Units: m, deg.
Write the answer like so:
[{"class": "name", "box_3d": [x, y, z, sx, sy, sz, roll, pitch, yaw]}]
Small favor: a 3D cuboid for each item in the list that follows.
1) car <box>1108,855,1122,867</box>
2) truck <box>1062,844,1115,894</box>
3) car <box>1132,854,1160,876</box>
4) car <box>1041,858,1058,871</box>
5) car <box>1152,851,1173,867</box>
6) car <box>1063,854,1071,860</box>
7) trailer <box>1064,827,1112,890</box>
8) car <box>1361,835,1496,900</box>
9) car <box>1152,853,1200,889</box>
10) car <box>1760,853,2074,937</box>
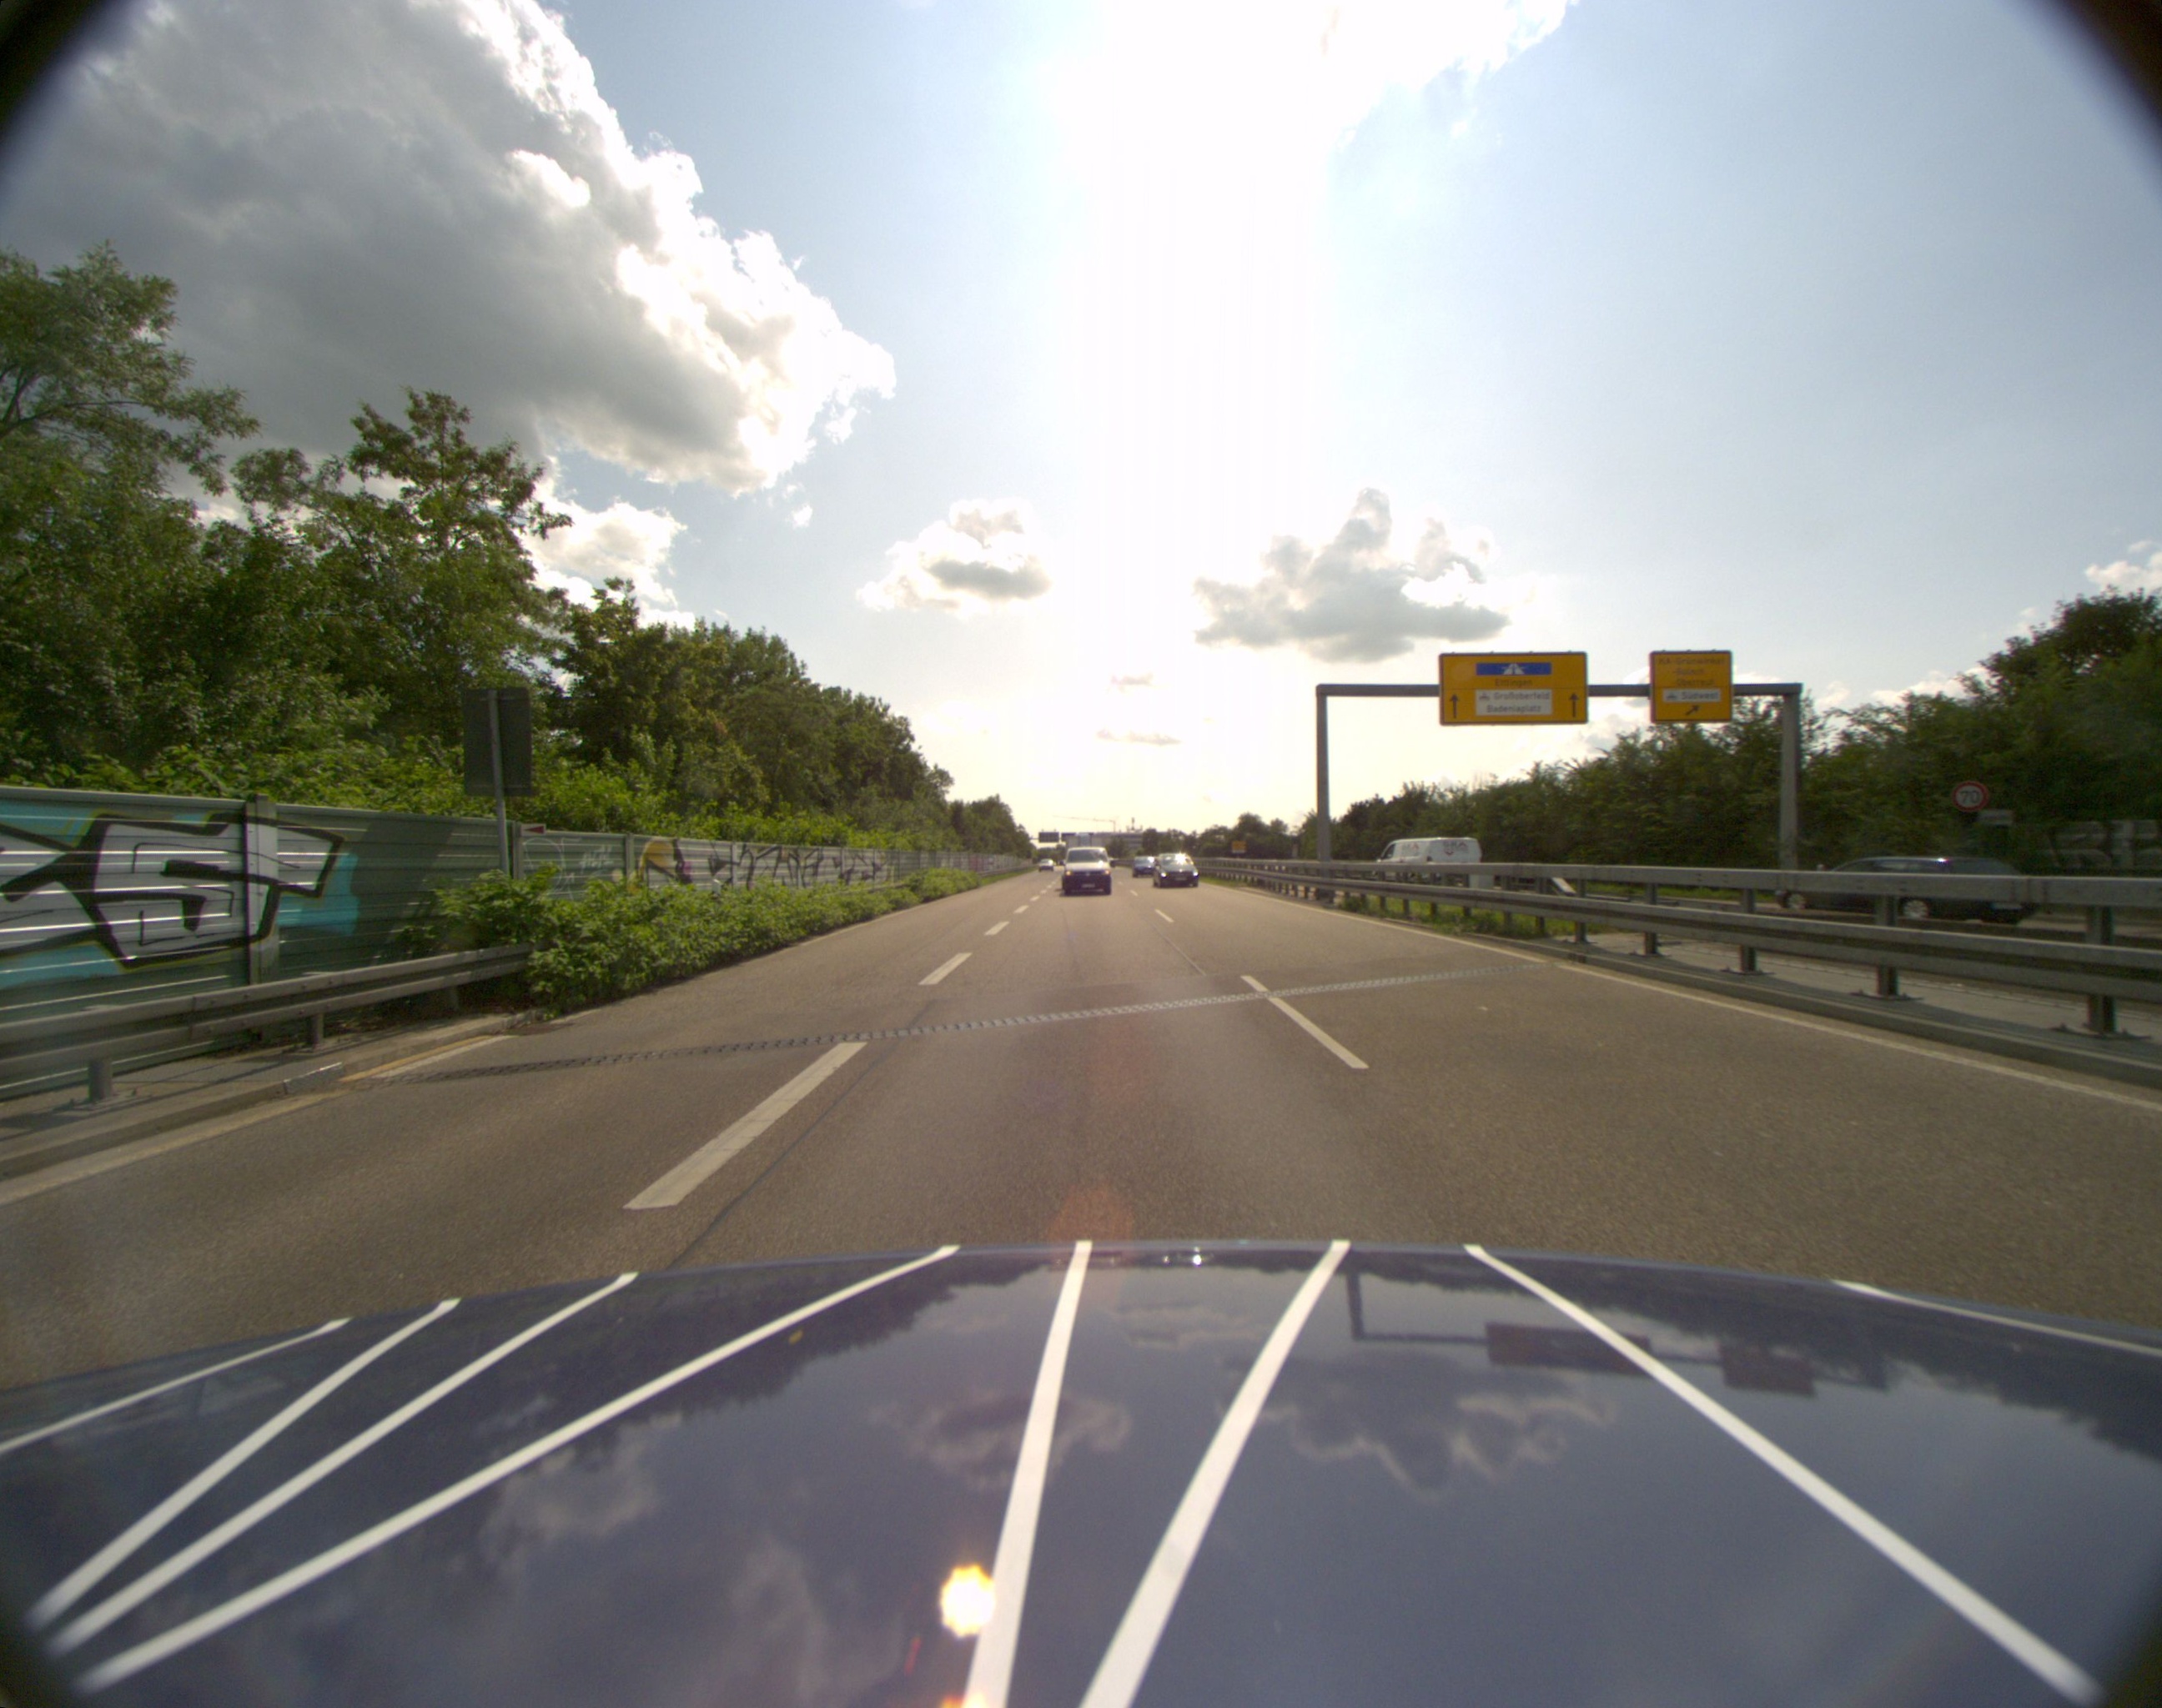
[{"class": "car", "box_3d": [4.808, 0.979, 107.122, 1.779, 1.518, 4.464, -2, 1, 1]}, {"class": "truck", "box_3d": [0.319, 0.581, 31.381, 2.008, 1.905, 4.000, -1, 0, 1]}, {"class": "car", "box_3d": [4.548, 0.764, 53.420, 1.625, 1.403, 3.771, -2, 1, 1]}, {"class": "car", "box_3d": [-3.766, 1.294, 92.488, 1.768, 1.403, 3.771, -2, 1, 1]}, {"class": "car", "box_3d": [10.441, 0.645, 97.737, 1.998, 1.853, 5.392, -2, 1, 0]}, {"class": "car", "box_3d": [-3.317, 0.784, 186.554, 1.768, 1.403, 3.771, -2, 1, 1]}, {"class": "trailer", "box_3d": [0.327, 0.179, 36.403, 1.998, 2.723, 5.966, -2, 1, 0]}, {"class": "car", "box_3d": [11.872, 0.371, 26.454, 2.085, 1.978, 5.227, 2, 1, -2]}, {"class": "car", "box_3d": [4.400, 0.741, 35.862, 1.716, 1.518, 4.592, -2, 1, 1]}, {"class": "car", "box_3d": [17.154, 0.745, 15.999, 1.693, 1.423, 4.401, -2, 1, -2]}]
